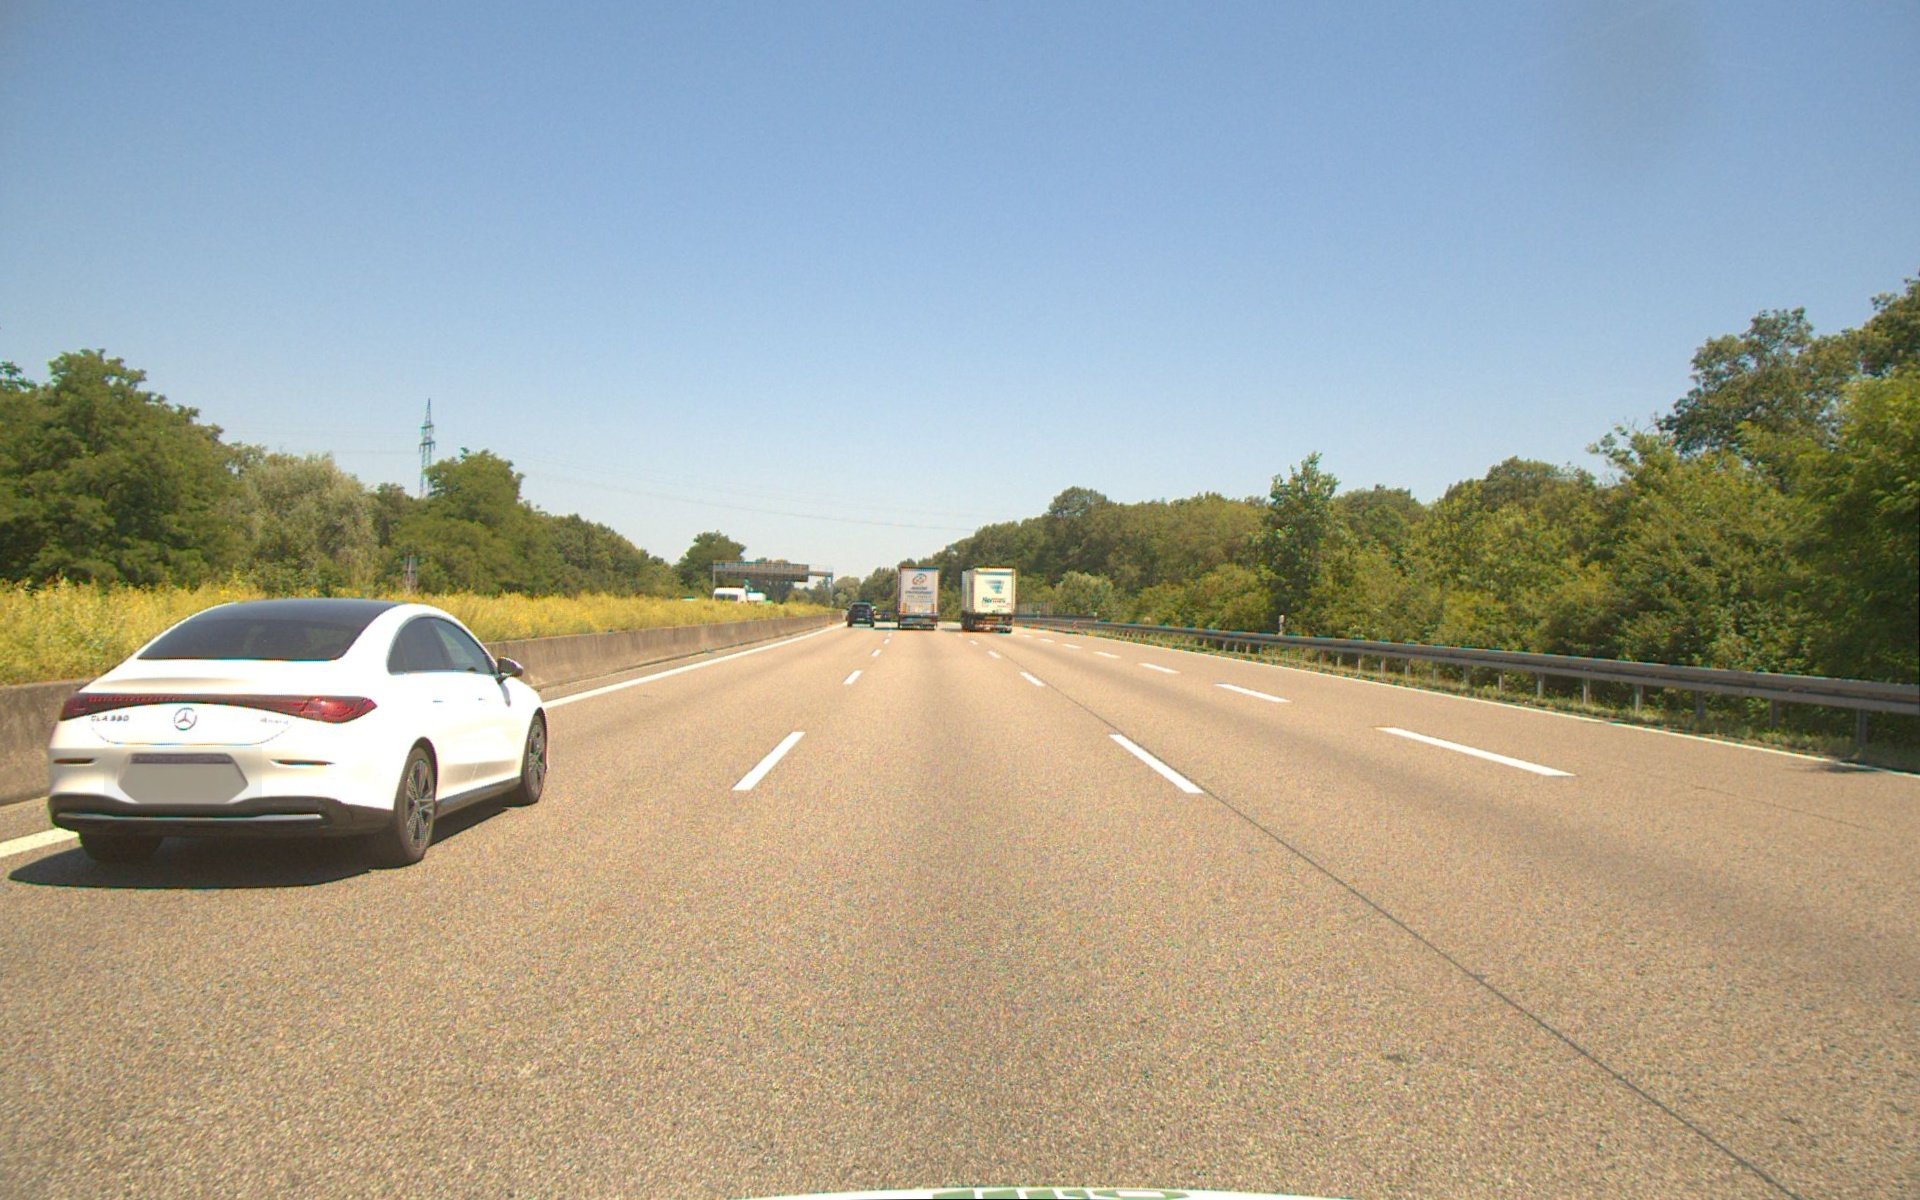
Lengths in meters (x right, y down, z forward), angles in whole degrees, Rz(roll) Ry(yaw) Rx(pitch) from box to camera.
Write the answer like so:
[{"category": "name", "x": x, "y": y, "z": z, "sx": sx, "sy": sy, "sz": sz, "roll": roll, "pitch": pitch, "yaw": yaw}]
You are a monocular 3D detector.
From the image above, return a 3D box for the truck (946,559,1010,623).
[{"category": "truck", "x": 1.153, "y": -0.627, "z": 113.829, "sx": 3.261, "sy": 4.123, "sz": 10.942, "roll": 1, "pitch": 1, "yaw": -5}]

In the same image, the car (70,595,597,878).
[{"category": "car", "x": -3.869, "y": 0.726, "z": 11.295, "sx": 1.731, "sy": 1.474, "sz": 5.107, "roll": 1, "pitch": 0, "yaw": -1}]

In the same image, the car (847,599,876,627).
[{"category": "car", "x": -7.219, "y": 0.933, "z": 120.677, "sx": 1.954, "sy": 1.907, "sz": 3.996, "roll": 1, "pitch": 1, "yaw": -5}]

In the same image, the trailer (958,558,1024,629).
[{"category": "trailer", "x": 1.878, "y": -0.466, "z": 104.620, "sx": 3.301, "sy": 4.215, "sz": 9.084, "roll": 1, "pitch": 1, "yaw": -4}]

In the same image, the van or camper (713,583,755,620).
[{"category": "van or camper", "x": -15.520, "y": 0.085, "z": 113.864, "sx": 2.205, "sy": 2.429, "sz": 6.755, "roll": 1, "pitch": 0, "yaw": -3}]

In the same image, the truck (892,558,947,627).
[{"category": "truck", "x": -2.725, "y": -0.531, "z": 108.078, "sx": 3.165, "sy": 4.275, "sz": 8.459, "roll": 1, "pitch": 0, "yaw": -4}]
